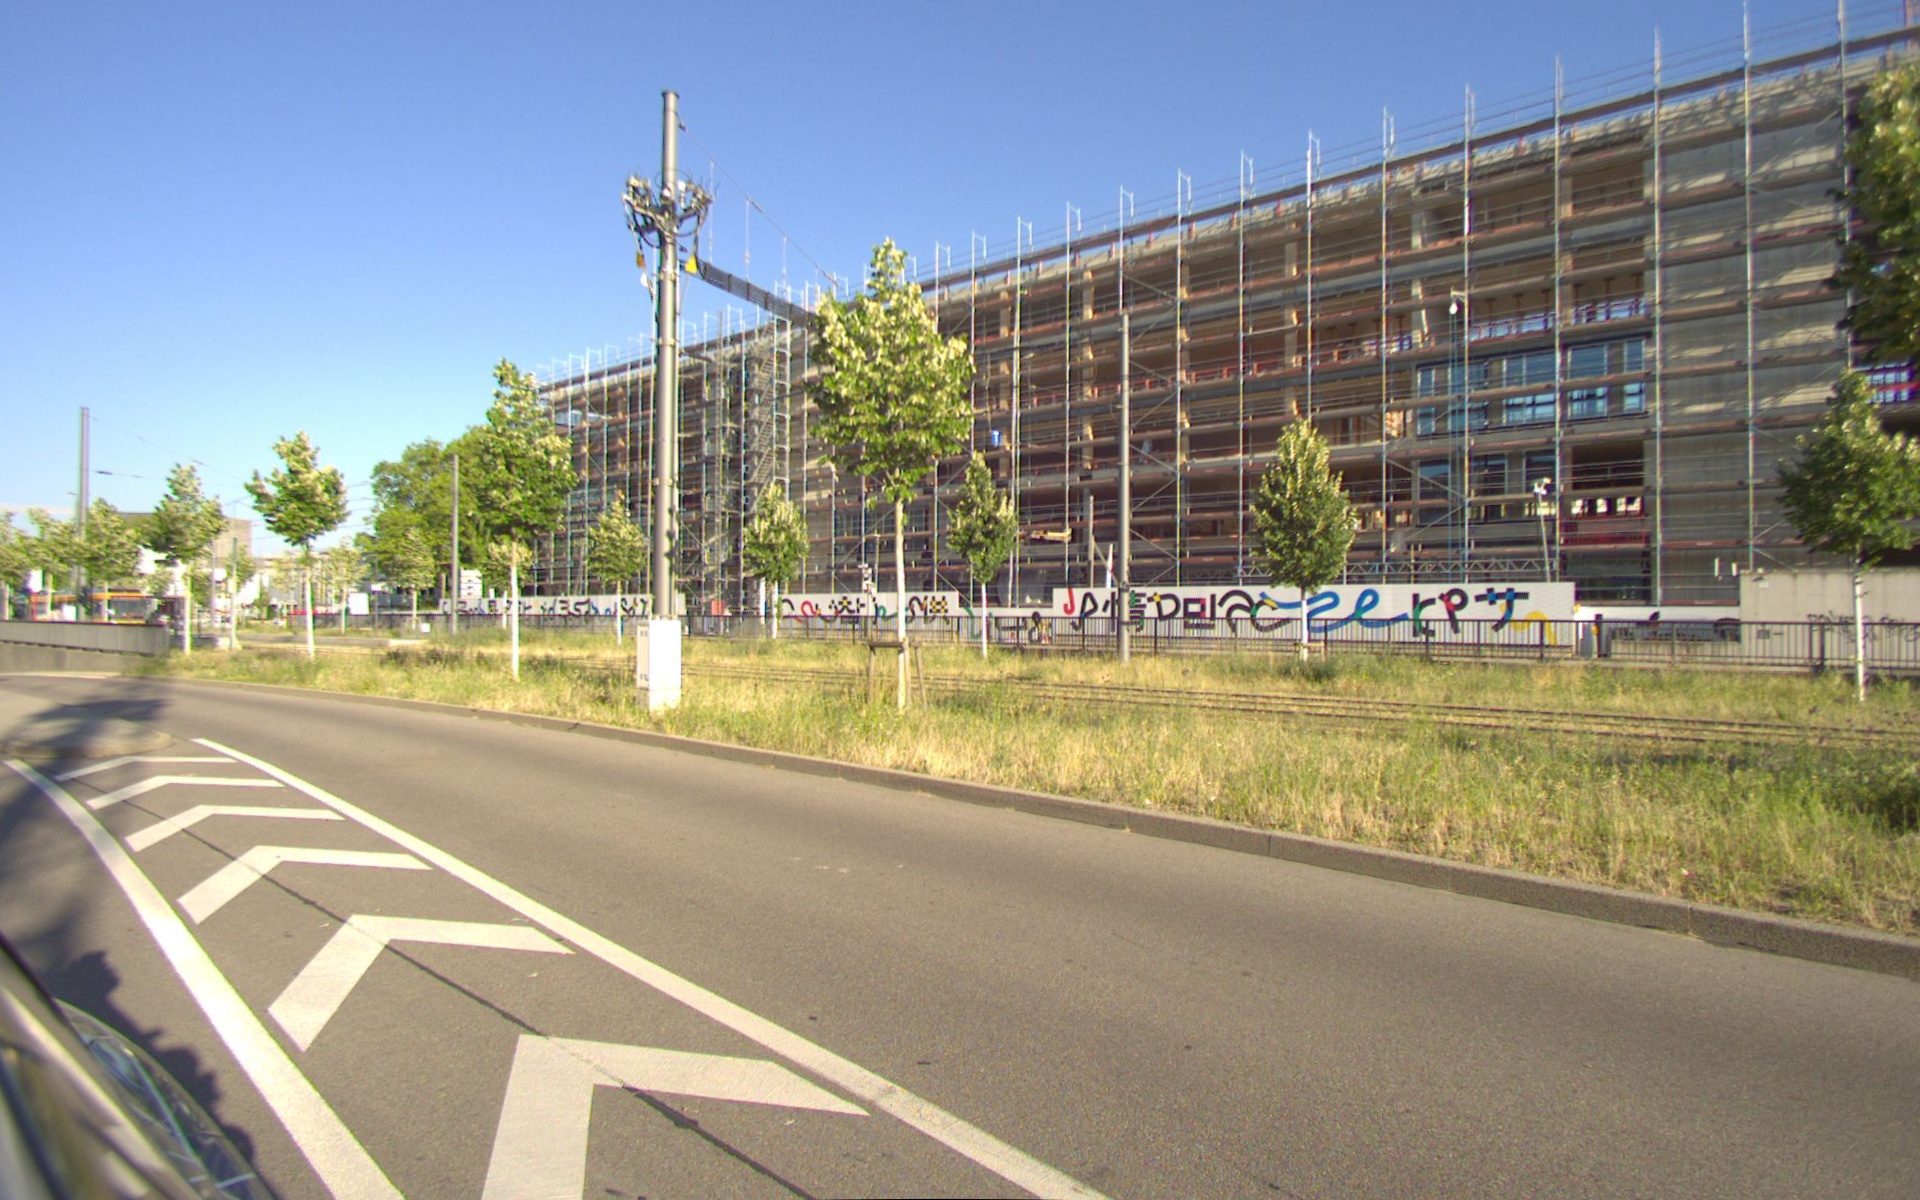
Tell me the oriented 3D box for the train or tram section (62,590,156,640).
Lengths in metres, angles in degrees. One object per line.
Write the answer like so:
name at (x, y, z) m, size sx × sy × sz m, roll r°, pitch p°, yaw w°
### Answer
train or tram section at (-62.725, 1.052, 74.433) m, size 12.619 × 3.423 × 2.917 m, roll -1°, pitch 0°, yaw 39°
